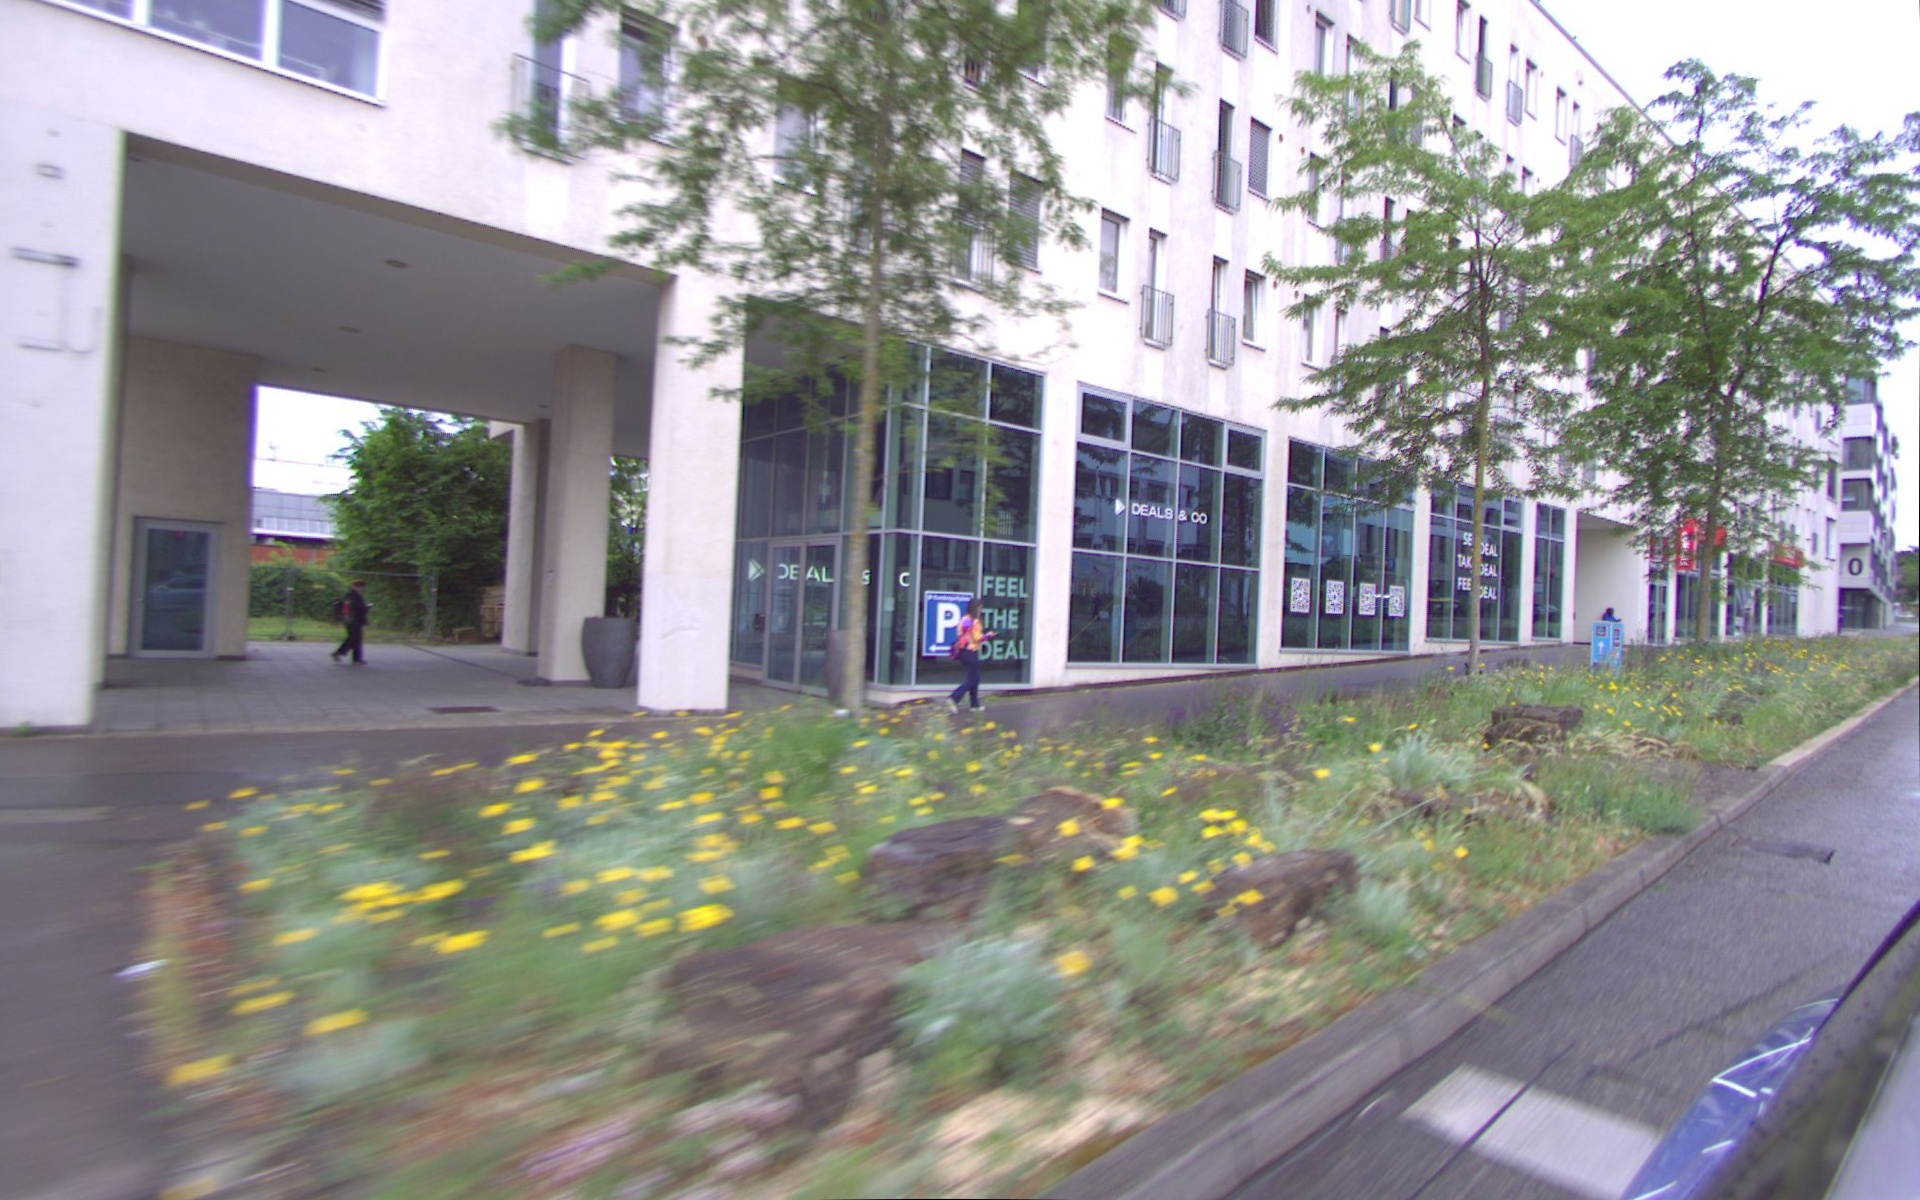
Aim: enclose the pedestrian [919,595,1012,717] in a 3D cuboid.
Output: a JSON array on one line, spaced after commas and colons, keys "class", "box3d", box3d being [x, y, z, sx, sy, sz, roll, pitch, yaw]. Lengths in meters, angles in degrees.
[{"class": "pedestrian", "box3d": [0.082, 0.822, 15.180, 1.067, 1.734, 0.875, 2, -3, -37]}]
